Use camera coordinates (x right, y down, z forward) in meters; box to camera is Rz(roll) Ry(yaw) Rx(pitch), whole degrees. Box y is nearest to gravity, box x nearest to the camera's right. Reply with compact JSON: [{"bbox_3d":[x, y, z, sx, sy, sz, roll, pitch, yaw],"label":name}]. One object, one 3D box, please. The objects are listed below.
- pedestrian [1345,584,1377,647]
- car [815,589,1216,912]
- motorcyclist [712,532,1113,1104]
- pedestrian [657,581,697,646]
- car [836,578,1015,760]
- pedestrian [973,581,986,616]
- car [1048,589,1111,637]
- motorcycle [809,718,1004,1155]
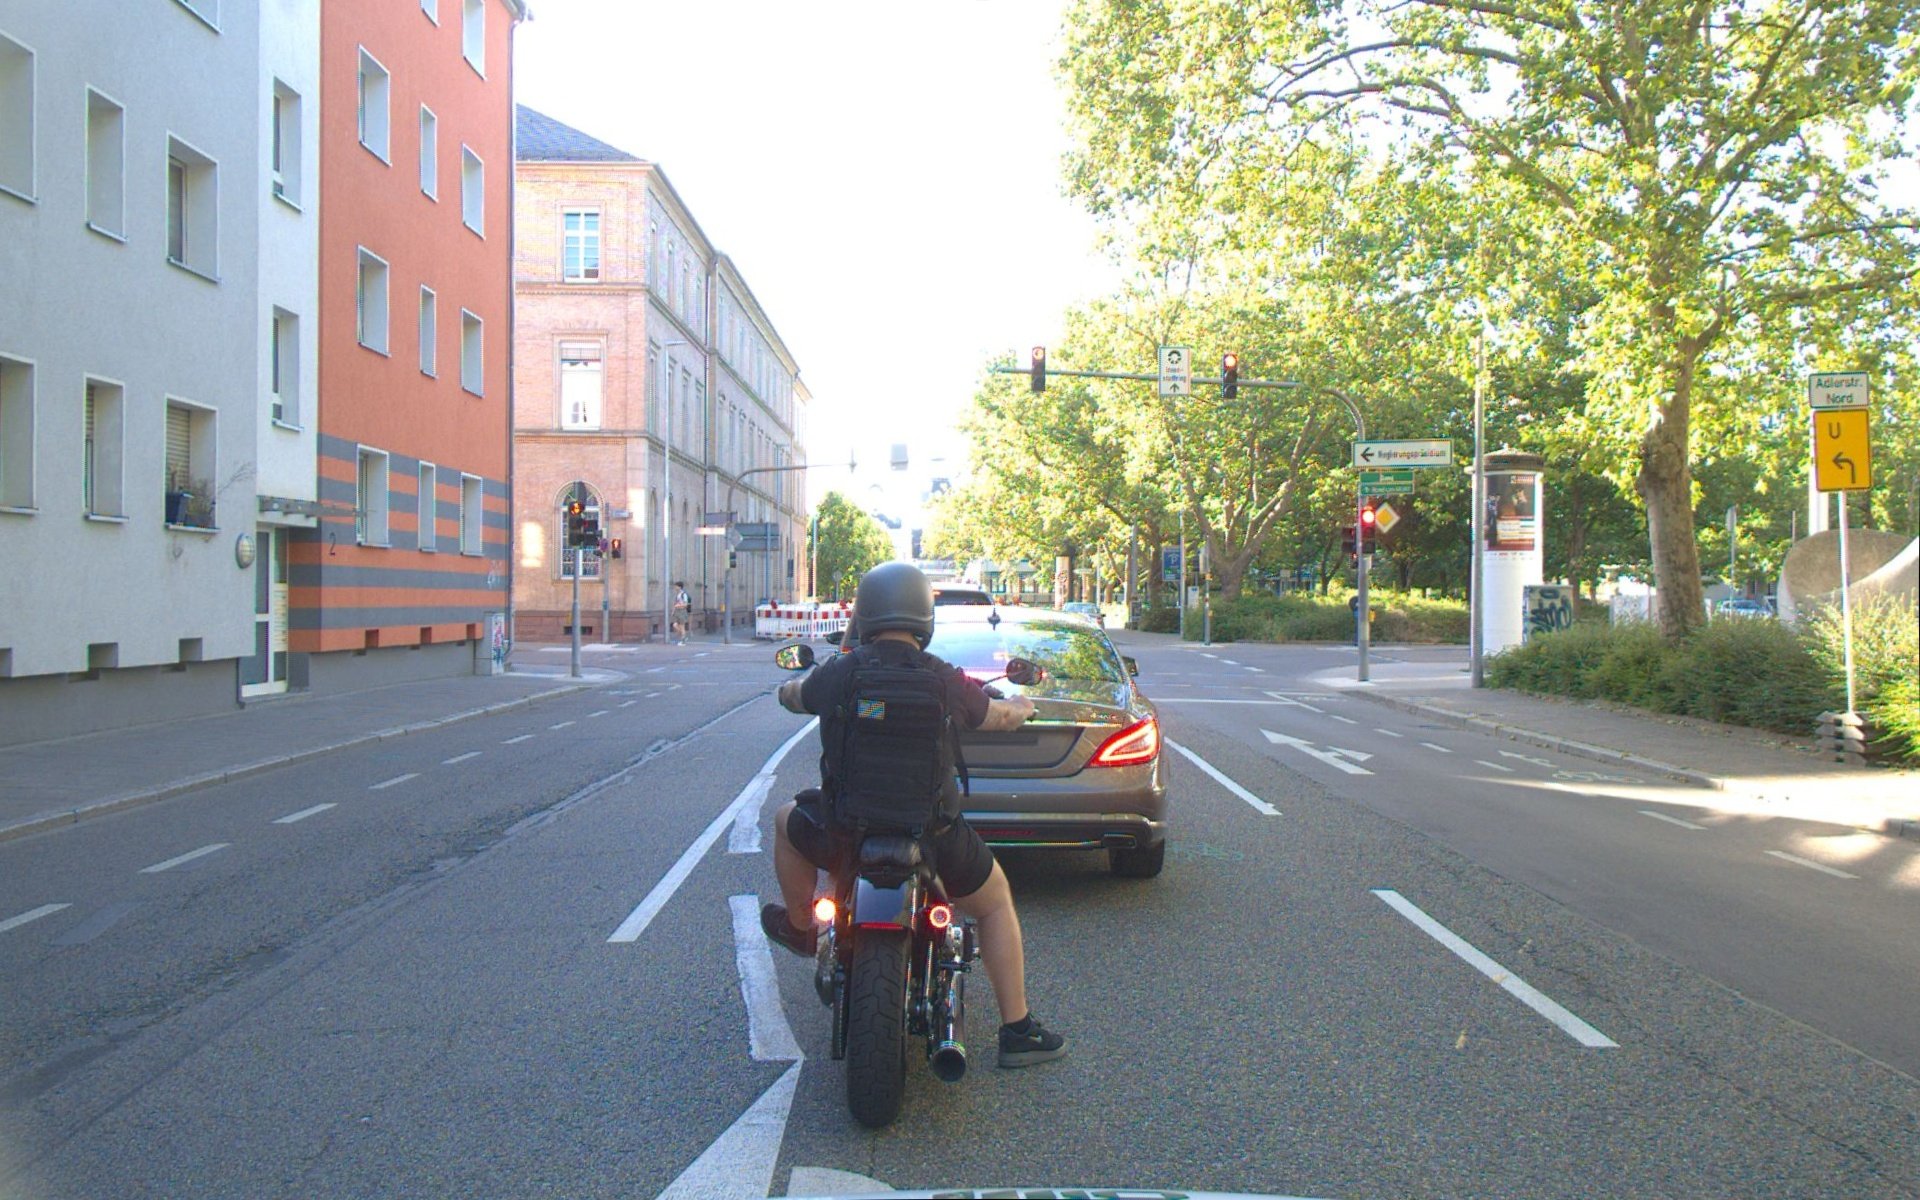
[{"bbox_3d":[12.447,0.482,51.337,0.903,1.943,0.752,1,-1,12],"label":"pedestrian"},{"bbox_3d":[0.235,0.693,9.610,1.844,1.475,3.819,1,0,-1],"label":"car"},{"bbox_3d":[-0.144,0.630,5.399,1.125,1.626,1.288,1,0,-1],"label":"motorcyclist"},{"bbox_3d":[-8.300,0.394,48.472,0.986,1.858,1.070,1,-1,-19],"label":"pedestrian"},{"bbox_3d":[-0.332,0.605,16.718,1.588,1.622,3.999,0,0,-1],"label":"car"},{"bbox_3d":[1.172,-0.081,100.952,0.748,2.087,0.712,1,-1,-1],"label":"pedestrian"},{"bbox_3d":[4.219,0.460,58.901,1.814,1.602,4.134,1,0,-2],"label":"car"},{"bbox_3d":[-0.157,0.968,5.412,0.503,1.020,2.013,1,0,-1],"label":"motorcycle"}]
